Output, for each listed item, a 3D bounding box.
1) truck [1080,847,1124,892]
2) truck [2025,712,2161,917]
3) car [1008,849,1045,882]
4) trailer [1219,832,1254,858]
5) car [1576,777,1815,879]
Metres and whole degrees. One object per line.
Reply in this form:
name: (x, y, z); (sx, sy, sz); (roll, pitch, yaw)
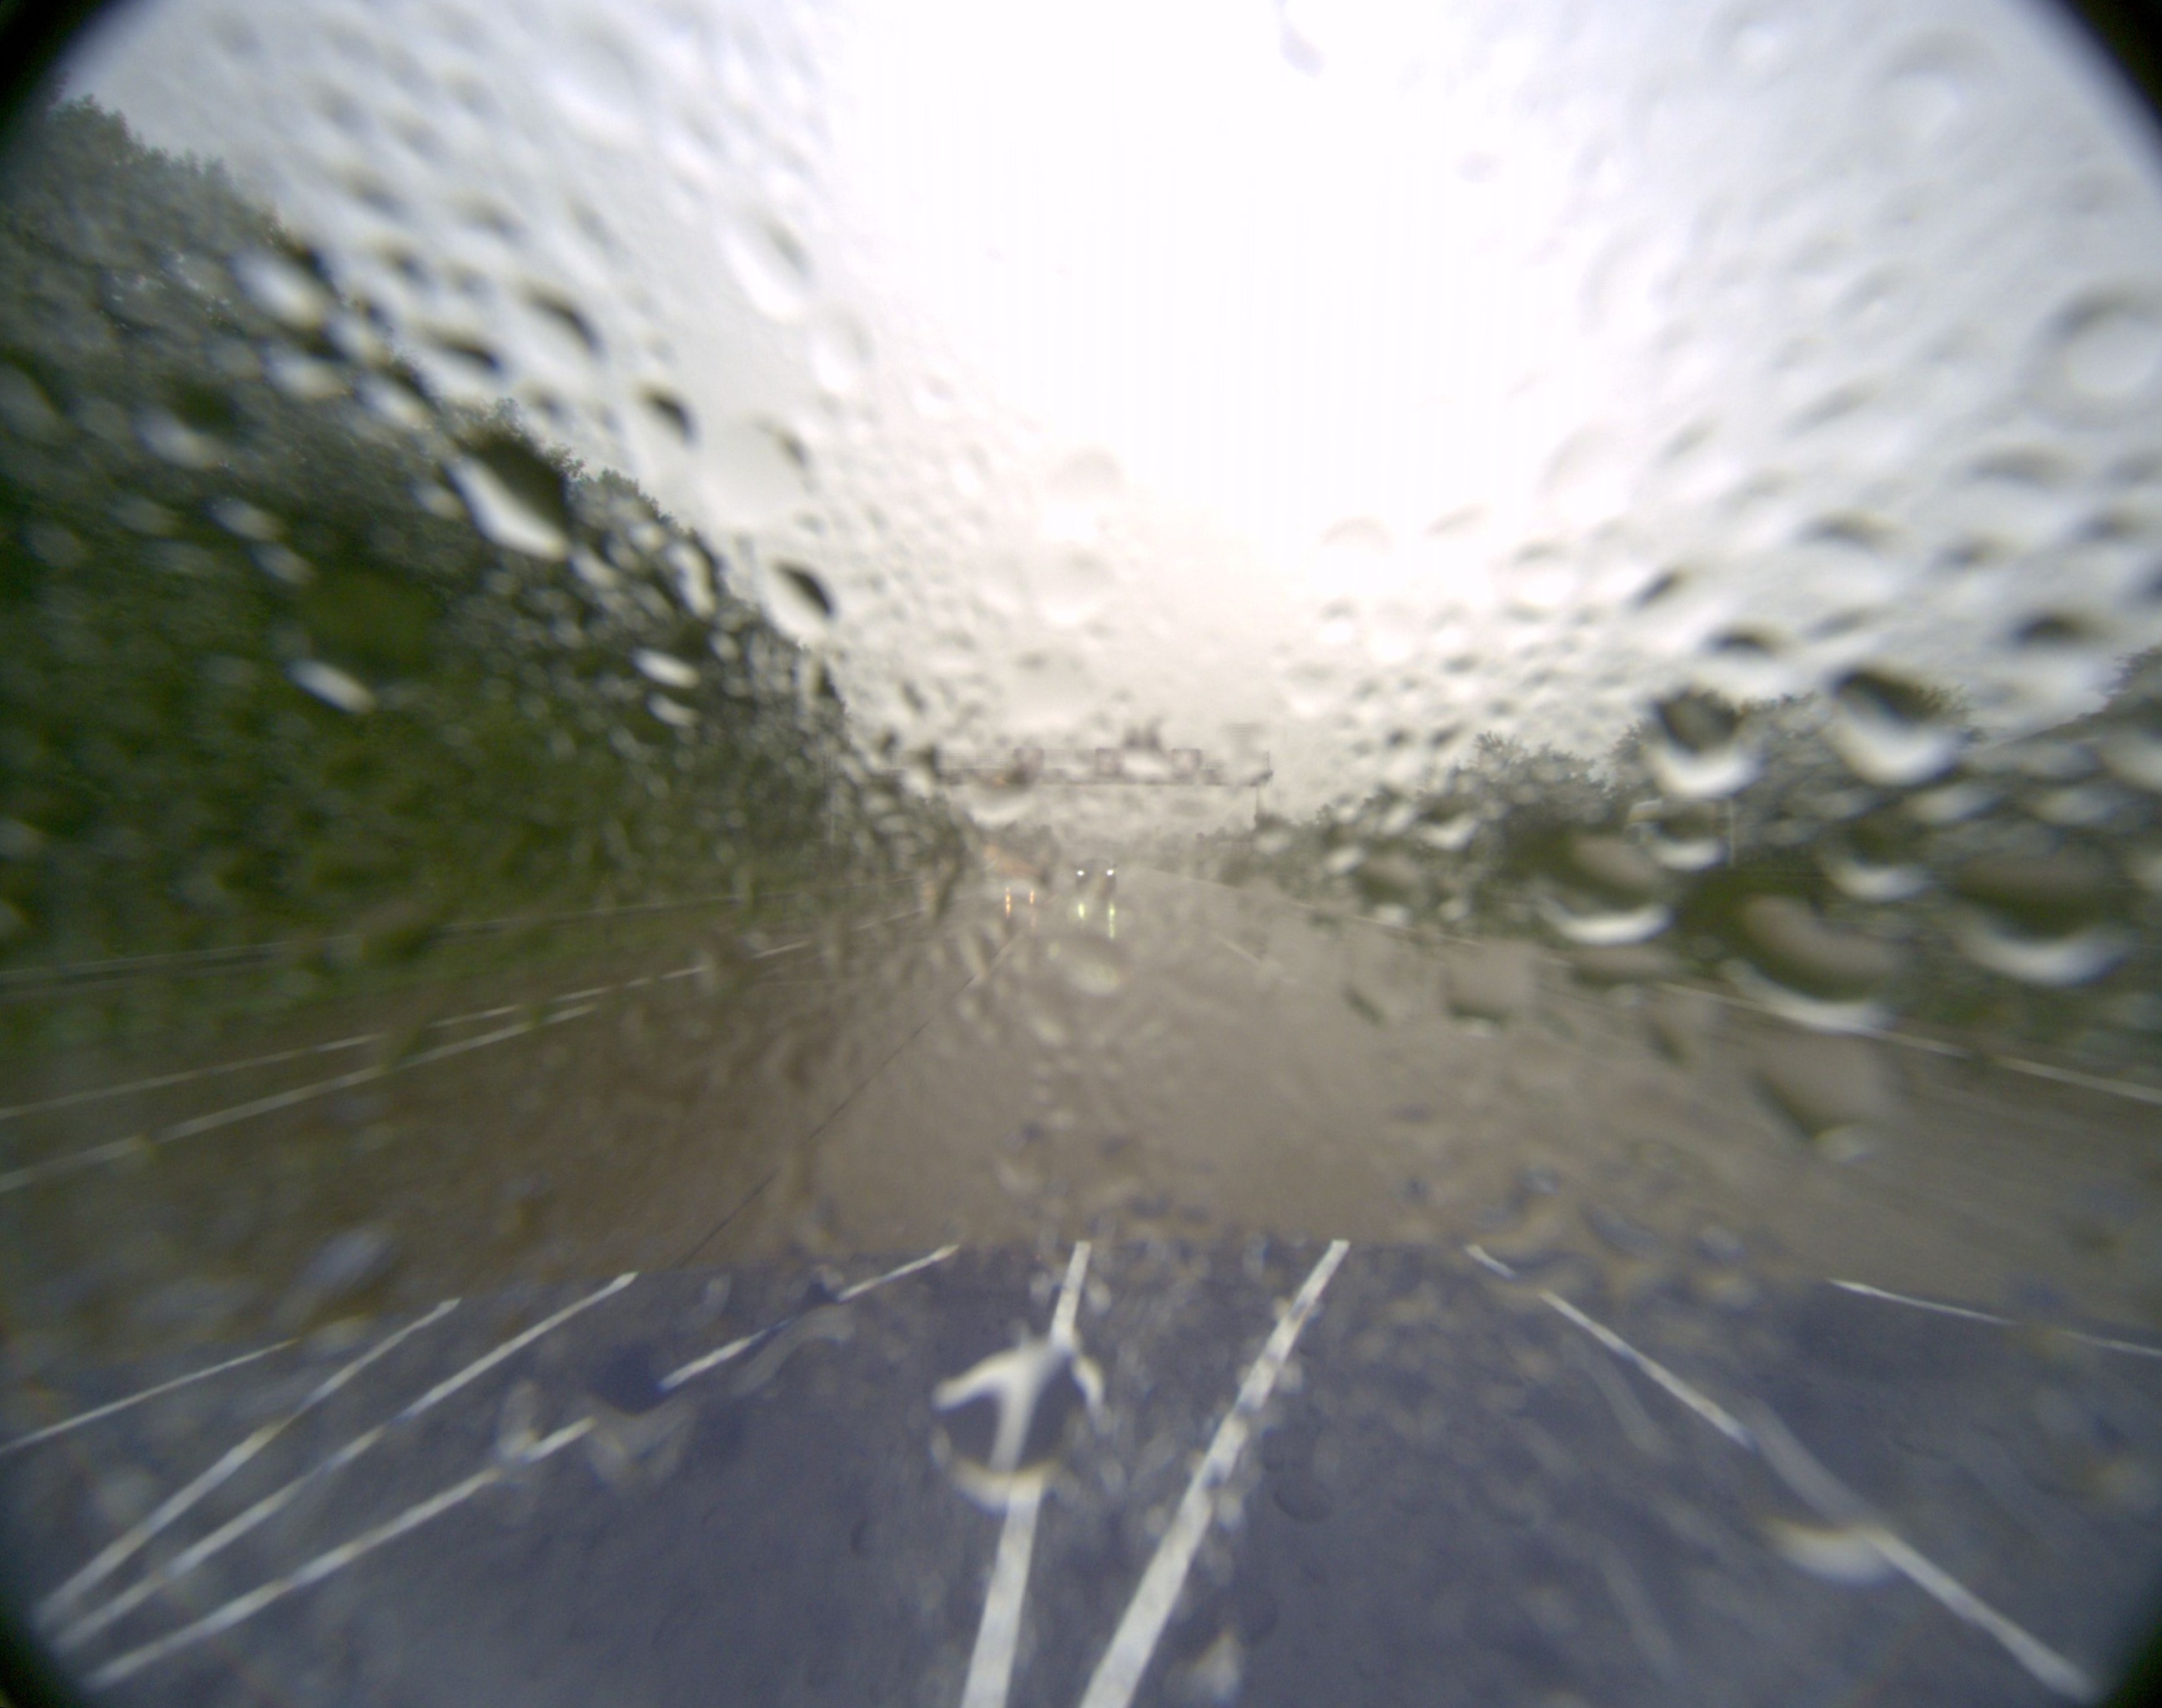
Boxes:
truck: (0.997, 0.685, 38.241); (1.998, 2.002, 7.575); (-1, 0, 0)
truck: (19.822, -0.706, 11.947); (2.821, 3.489, 5.731); (-2, 0, 1)
car: (-3.491, 0.730, 49.429); (1.859, 2.002, 4.001); (-1, 0, 4)
trailer: (23.581, -1.263, 115.684); (2.972, 3.653, 12.286); (-2, 0, 1)
car: (22.291, -0.843, 28.283); (2.805, 3.224, 7.601); (-2, 0, 1)
